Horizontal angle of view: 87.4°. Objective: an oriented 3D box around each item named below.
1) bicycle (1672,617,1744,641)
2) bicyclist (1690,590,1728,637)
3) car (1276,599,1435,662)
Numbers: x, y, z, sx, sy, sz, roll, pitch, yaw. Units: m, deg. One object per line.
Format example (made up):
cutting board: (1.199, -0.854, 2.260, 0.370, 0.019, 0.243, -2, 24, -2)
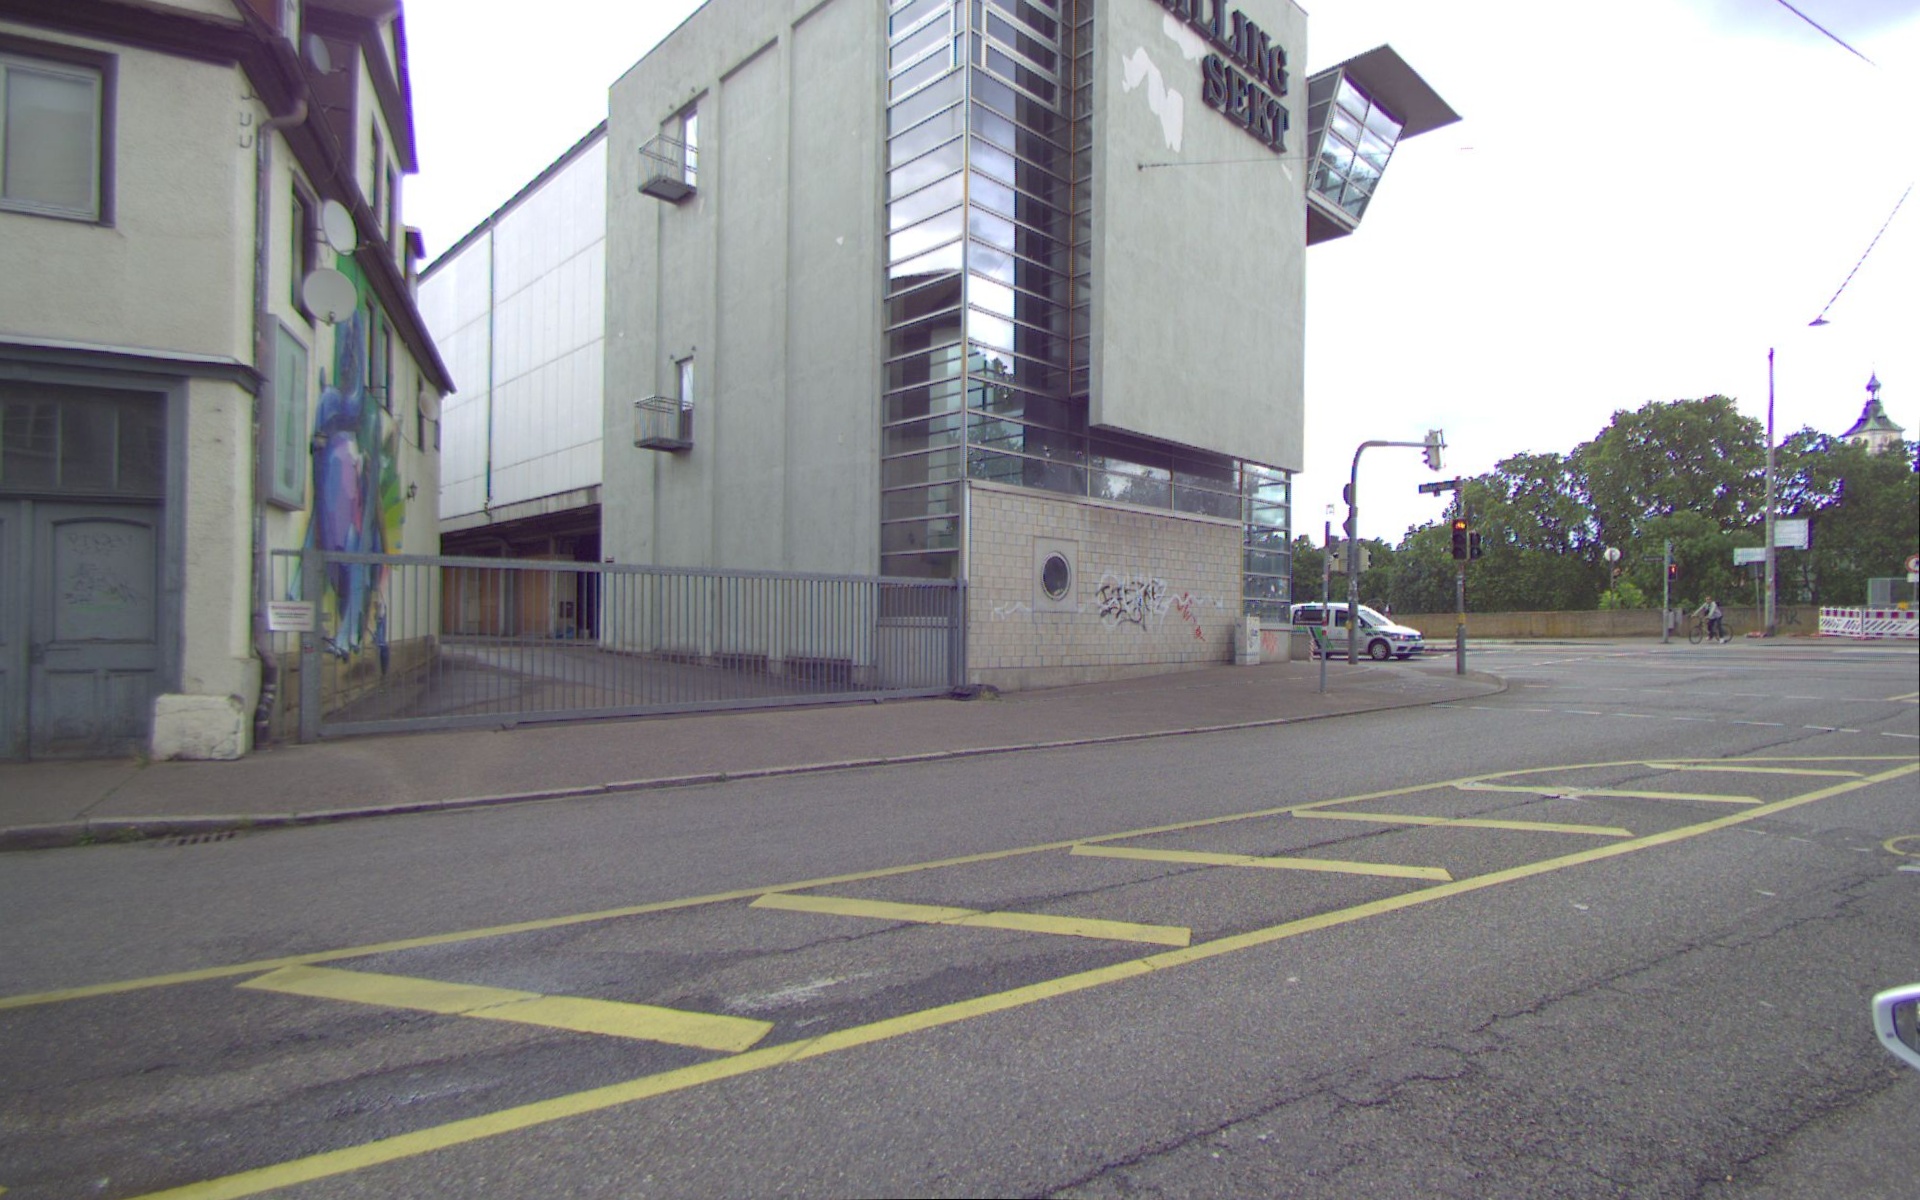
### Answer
bicycle: (28.845, 1.114, 38.757, 2.096, 0.904, 0.760, -1, 0, 19)
bicyclist: (28.886, 0.506, 38.733, 0.985, 1.767, 0.755, 0, 1, 19)
car: (12.686, 0.993, 32.431, 1.984, 1.826, 4.310, -2, -1, -40)
